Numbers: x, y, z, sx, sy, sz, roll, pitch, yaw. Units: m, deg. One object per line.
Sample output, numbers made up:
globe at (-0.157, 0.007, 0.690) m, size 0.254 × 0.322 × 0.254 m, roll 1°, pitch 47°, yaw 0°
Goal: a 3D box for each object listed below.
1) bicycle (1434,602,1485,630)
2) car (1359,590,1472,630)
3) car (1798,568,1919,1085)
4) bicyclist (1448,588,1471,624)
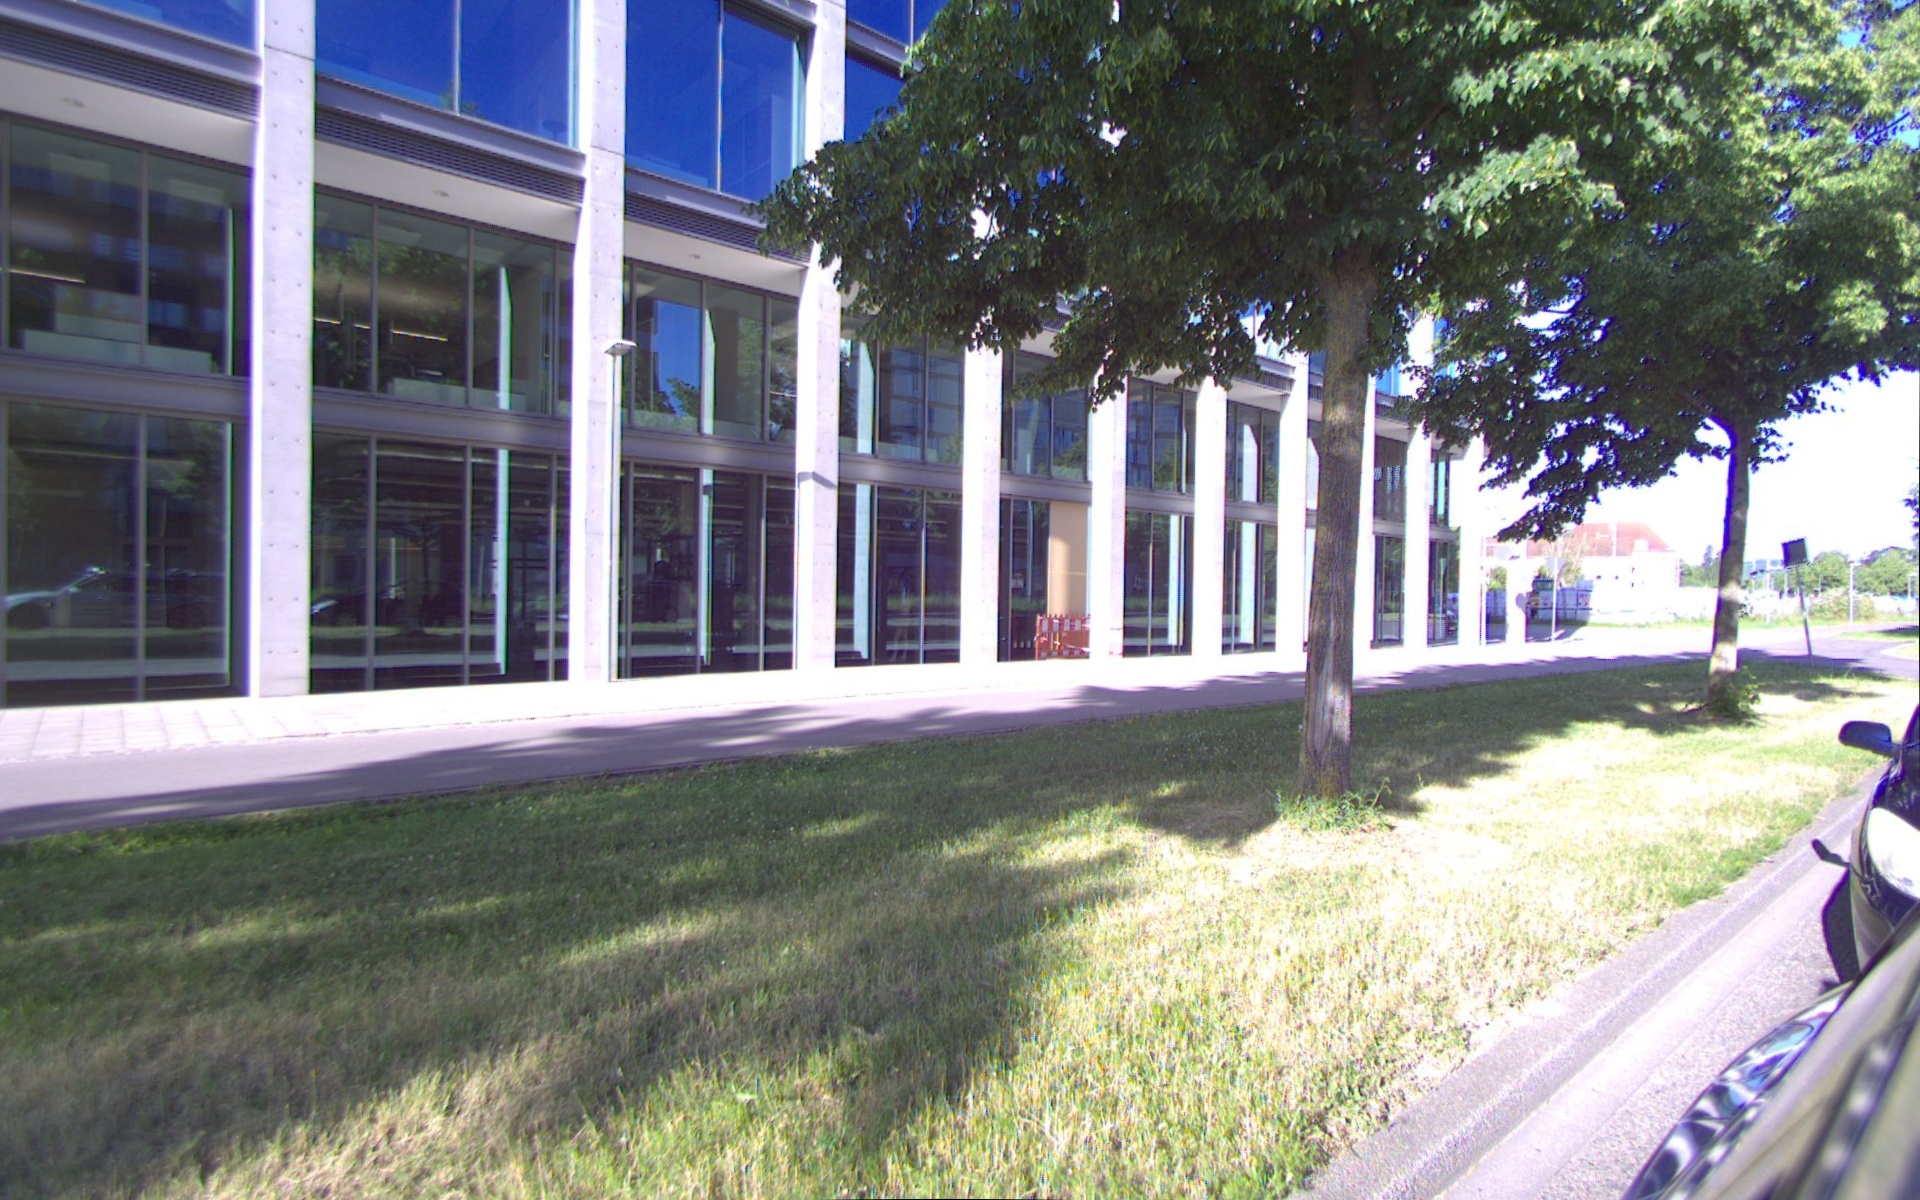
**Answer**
bicycle at (22.633, 0.710, 45.882) m, size 0.581 × 1.170 × 1.924 m, roll 1°, pitch 2°, yaw -43°
car at (19.521, 0.401, 43.480) m, size 1.963 × 1.598 × 3.997 m, roll 0°, pitch 1°, yaw -38°
car at (4.870, 0.666, 3.894) m, size 4.403 × 1.500 × 1.845 m, roll 0°, pitch 1°, yaw -41°
bicyclist at (22.649, 0.272, 45.866) m, size 0.582 × 1.558 × 0.698 m, roll 1°, pitch 2°, yaw -43°
